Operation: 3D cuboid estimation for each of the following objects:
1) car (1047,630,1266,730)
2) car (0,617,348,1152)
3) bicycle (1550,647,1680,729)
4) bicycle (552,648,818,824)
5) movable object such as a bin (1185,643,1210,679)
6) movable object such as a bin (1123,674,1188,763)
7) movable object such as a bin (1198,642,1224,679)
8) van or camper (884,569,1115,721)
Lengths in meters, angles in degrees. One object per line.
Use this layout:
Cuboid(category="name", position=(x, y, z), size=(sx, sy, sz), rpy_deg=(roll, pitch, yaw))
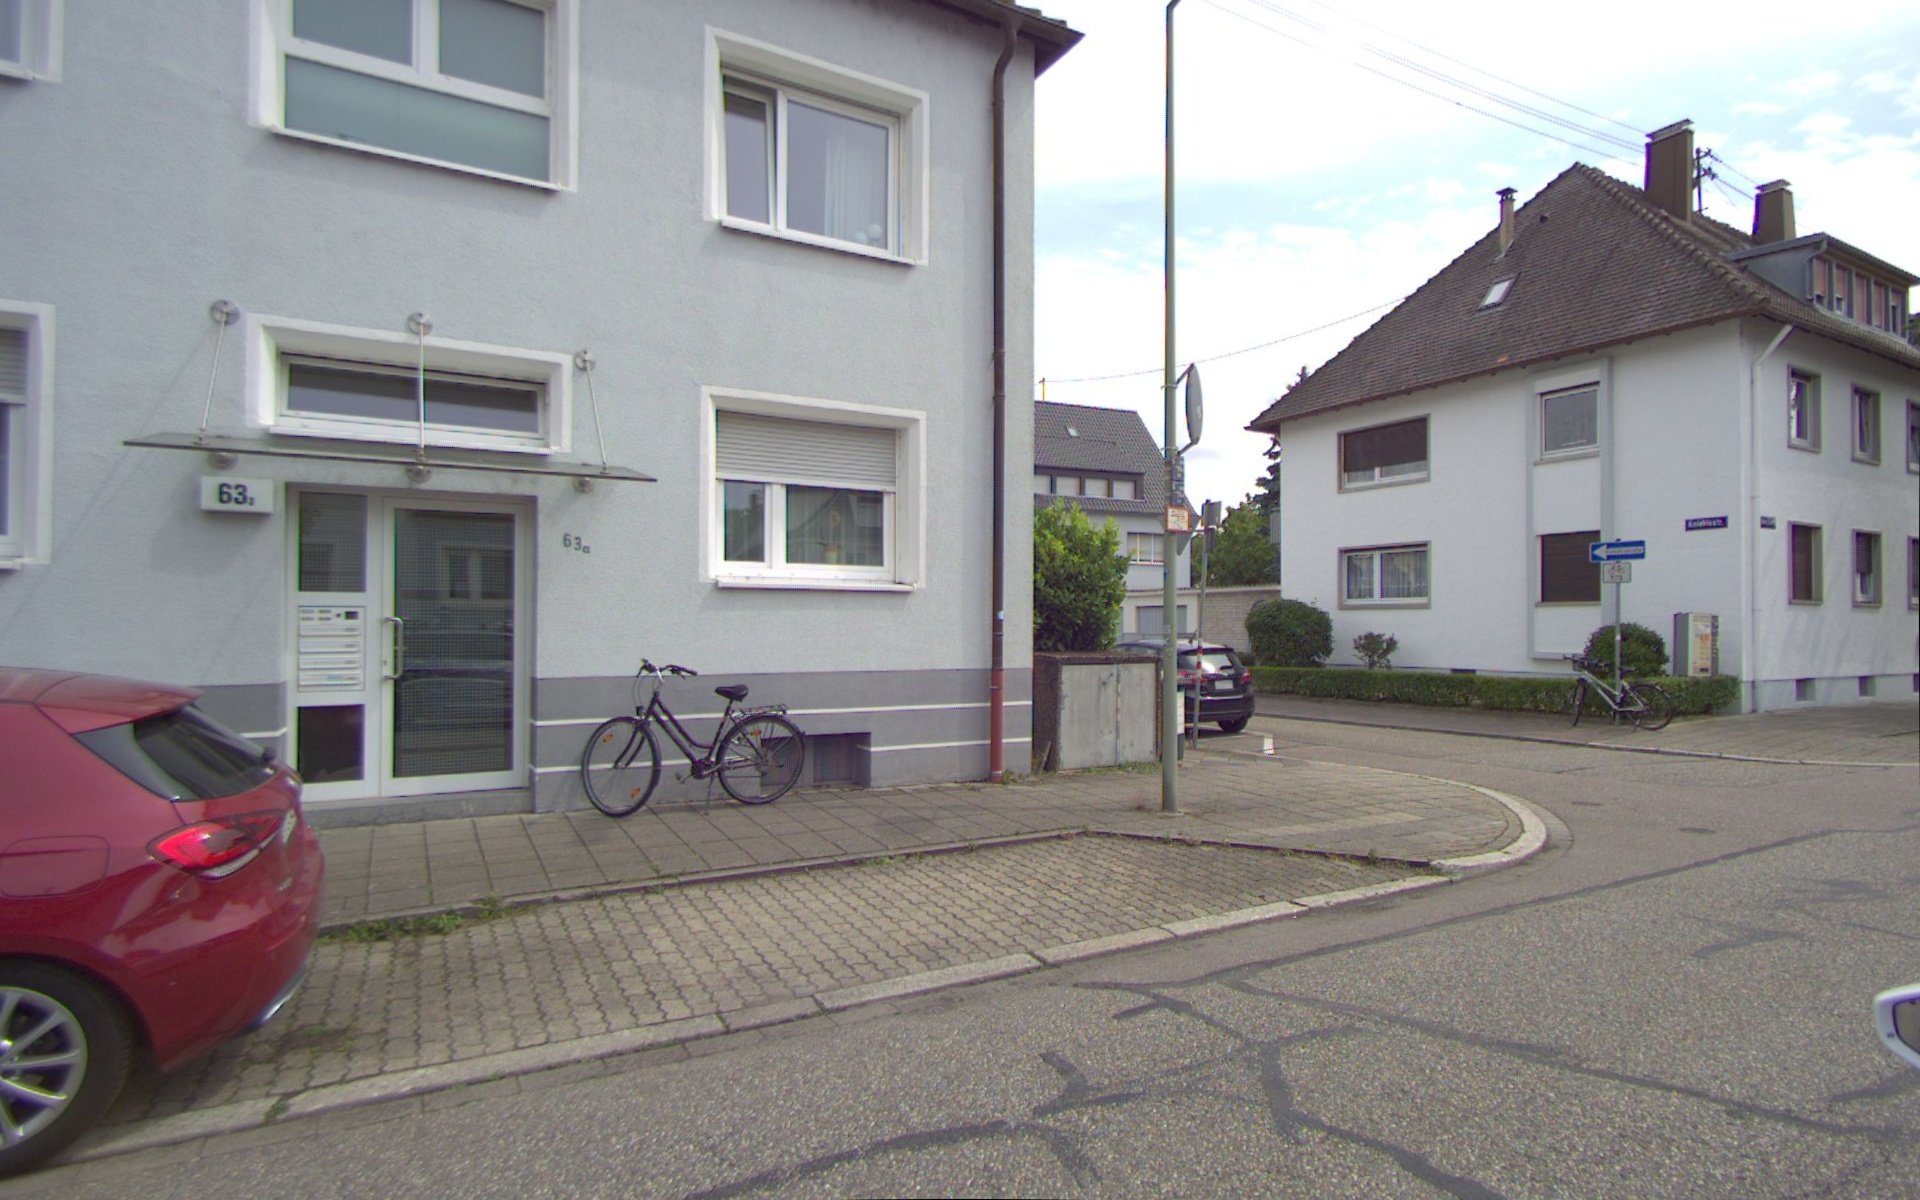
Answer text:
Cuboid(category="car", position=(3.087, 1.269, 16.556), size=(1.641, 1.441, 3.746), rpy_deg=(1, -3, -25))
Cuboid(category="car", position=(-4.456, 0.825, 2.927), size=(4.458, 1.505, 1.869), rpy_deg=(1, -3, -30))
Cuboid(category="bicycle", position=(10.100, 1.336, 15.544), size=(0.430, 1.194, 1.624), rpy_deg=(1, -4, -33))
Cuboid(category="bicycle", position=(-2.008, 0.953, 7.471), size=(1.851, 1.168, 0.488), rpy_deg=(1, -3, -30))
Cuboid(category="movable object such as a bin", position=(6.584, 1.688, 27.864), size=(0.449, 0.986, 0.503), rpy_deg=(1, -3, -28))
Cuboid(category="movable object such as a bin", position=(2.117, 1.264, 10.884), size=(0.471, 0.918, 0.483), rpy_deg=(1, -3, -35))
Cuboid(category="movable object such as a bin", position=(6.822, 1.649, 27.296), size=(0.449, 0.986, 0.503), rpy_deg=(1, -3, -28))
Cuboid(category="van or camper", position=(0.587, 1.004, 21.636), size=(2.380, 2.760, 6.124), rpy_deg=(1, -3, -26))
